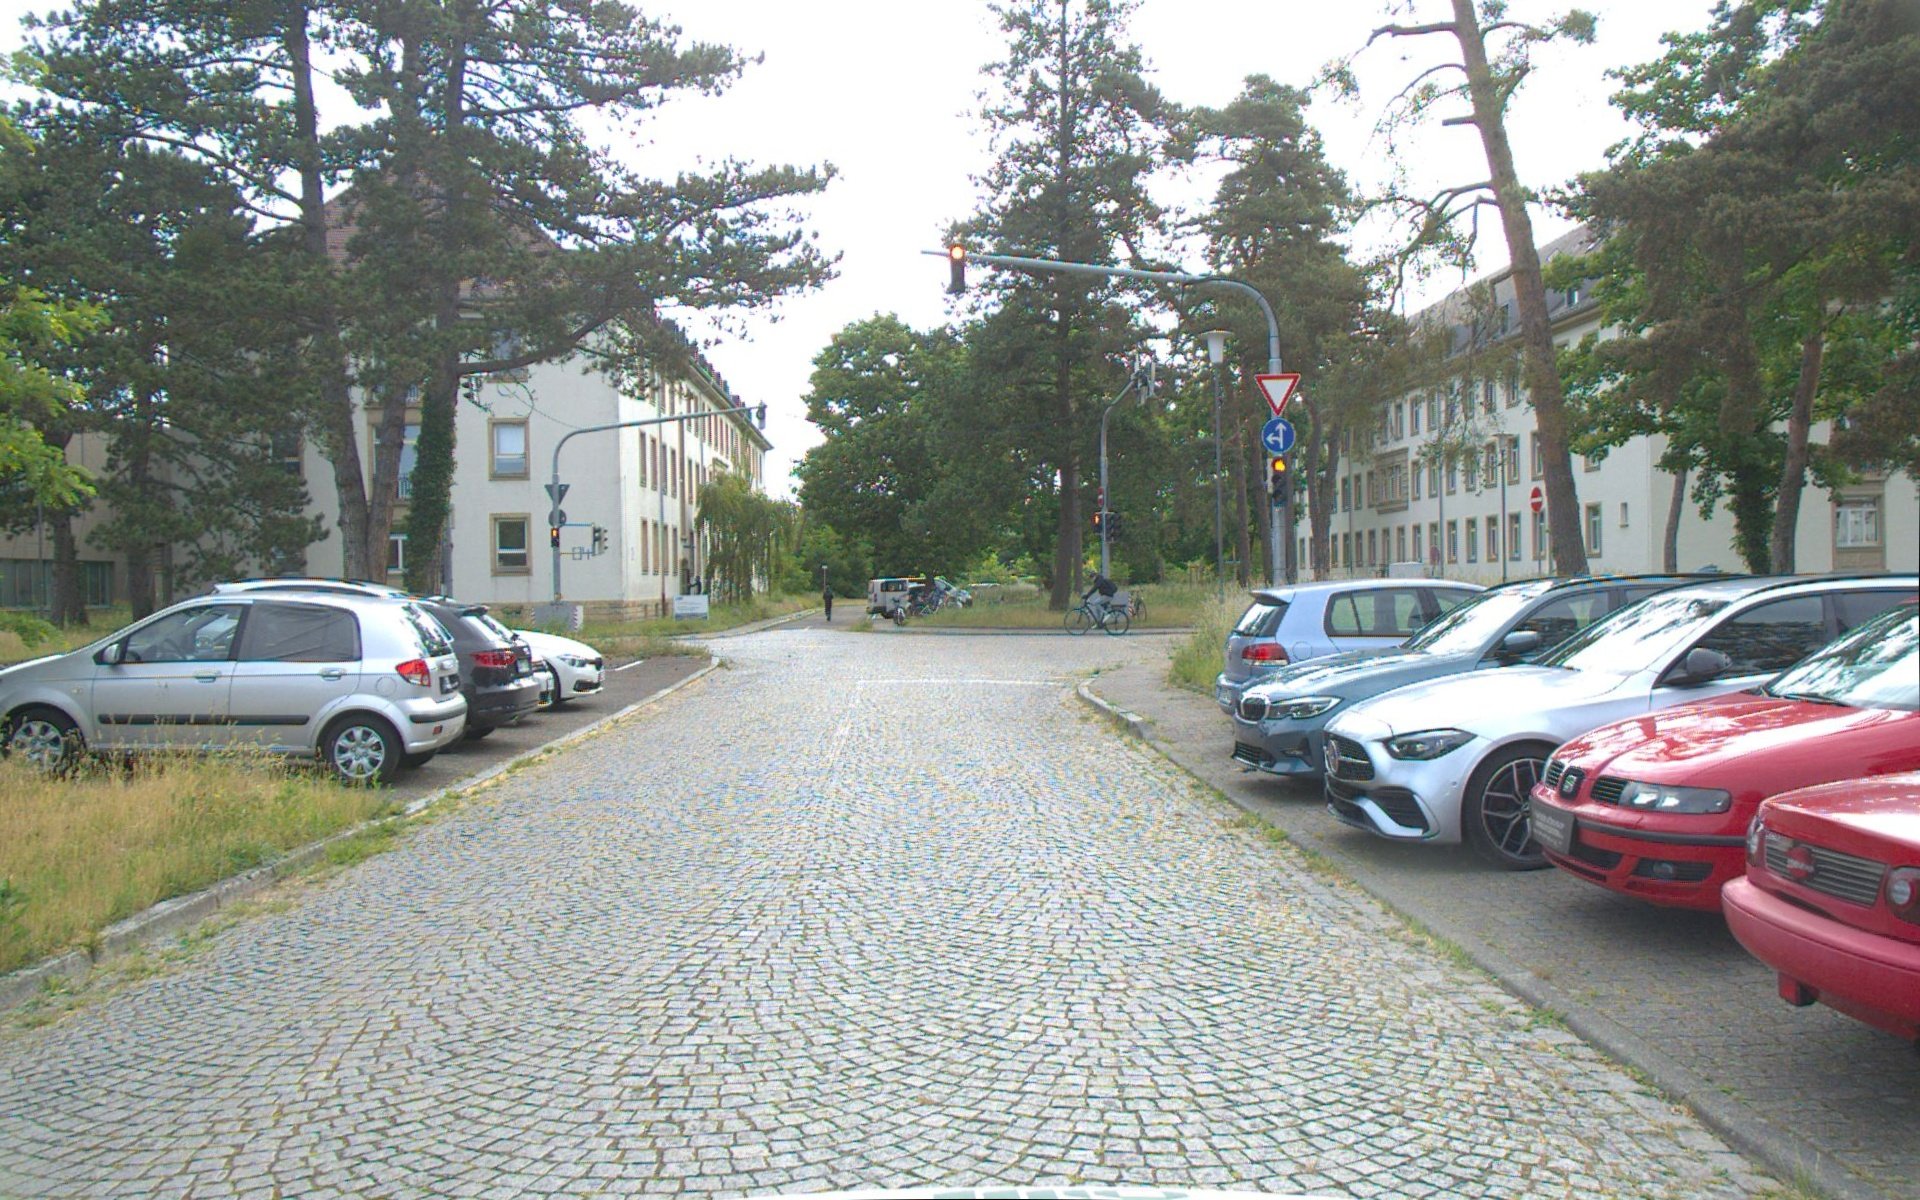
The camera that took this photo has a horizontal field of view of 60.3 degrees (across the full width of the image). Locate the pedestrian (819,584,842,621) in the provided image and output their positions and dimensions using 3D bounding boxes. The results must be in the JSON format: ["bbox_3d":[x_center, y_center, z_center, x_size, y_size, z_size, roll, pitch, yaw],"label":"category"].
[{"bbox_3d":[-5.807,0.109,73.881,0.731,1.646,0.768,-2,0,-31],"label":"pedestrian"}]

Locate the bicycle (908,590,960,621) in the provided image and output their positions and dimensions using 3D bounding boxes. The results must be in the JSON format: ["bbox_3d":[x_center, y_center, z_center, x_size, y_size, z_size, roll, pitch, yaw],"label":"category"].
[{"bbox_3d":[-0.987,0.213,63.452,1.919,1.152,0.587,-1,0,-9],"label":"bicycle"}]

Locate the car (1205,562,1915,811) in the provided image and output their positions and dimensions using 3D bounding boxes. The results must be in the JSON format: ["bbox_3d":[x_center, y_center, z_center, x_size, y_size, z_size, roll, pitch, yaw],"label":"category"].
[{"bbox_3d":[4.325,0.575,12.356,4.590,1.441,1.869,-3,1,-5],"label":"car"}]

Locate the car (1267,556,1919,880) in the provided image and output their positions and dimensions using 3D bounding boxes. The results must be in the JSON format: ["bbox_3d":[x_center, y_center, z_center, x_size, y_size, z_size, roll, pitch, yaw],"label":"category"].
[{"bbox_3d":[4.211,0.561,9.662,4.344,1.441,1.866,-3,1,-11],"label":"car"}]

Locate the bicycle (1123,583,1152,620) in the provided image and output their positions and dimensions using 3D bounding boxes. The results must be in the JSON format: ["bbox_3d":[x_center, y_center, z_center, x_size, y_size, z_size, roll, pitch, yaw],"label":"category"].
[{"bbox_3d":[5.532,0.039,51.610,0.574,1.125,1.961,-1,1,-2],"label":"bicycle"}]

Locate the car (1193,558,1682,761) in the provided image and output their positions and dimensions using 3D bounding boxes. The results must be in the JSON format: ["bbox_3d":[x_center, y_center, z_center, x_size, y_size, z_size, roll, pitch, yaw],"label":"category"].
[{"bbox_3d":[4.156,0.491,14.801,3.847,1.503,1.642,-3,1,-1],"label":"car"}]

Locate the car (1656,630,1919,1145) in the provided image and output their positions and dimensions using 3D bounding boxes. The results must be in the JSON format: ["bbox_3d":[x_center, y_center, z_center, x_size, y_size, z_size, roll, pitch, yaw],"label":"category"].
[{"bbox_3d":[4.348,0.688,4.914,3.786,1.257,1.757,-3,1,-4],"label":"car"}]

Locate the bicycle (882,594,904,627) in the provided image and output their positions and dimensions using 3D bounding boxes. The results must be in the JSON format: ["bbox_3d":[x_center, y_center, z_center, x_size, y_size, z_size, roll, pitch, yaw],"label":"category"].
[{"bbox_3d":[-2.439,0.379,60.193,0.592,1.152,1.958,-1,1,-8],"label":"bicycle"}]

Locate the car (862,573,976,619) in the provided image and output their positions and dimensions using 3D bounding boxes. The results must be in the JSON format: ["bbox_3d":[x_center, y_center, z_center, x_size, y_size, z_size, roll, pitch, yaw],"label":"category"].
[{"bbox_3d":[-2.040,-0.203,81.499,5.266,1.958,2.019,-3,1,-11],"label":"car"}]

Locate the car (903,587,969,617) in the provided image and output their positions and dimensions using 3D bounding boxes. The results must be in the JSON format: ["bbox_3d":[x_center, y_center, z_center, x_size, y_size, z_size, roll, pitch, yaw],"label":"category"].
[{"bbox_3d":[-1.138,0.087,78.163,2.949,1.290,1.532,-2,0,-8],"label":"car"}]

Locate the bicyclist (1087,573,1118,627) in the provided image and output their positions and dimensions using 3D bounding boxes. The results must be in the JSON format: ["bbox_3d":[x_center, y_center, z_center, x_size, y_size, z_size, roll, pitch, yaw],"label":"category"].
[{"bbox_3d":[3.861,0.004,44.843,0.734,1.435,0.605,-1,0,-2],"label":"bicyclist"}]

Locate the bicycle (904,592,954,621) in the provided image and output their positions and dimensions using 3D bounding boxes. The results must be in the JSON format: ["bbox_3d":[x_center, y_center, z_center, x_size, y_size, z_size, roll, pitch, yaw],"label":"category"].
[{"bbox_3d":[-1.232,0.247,65.559,1.936,1.088,0.581,-2,1,-32],"label":"bicycle"}]

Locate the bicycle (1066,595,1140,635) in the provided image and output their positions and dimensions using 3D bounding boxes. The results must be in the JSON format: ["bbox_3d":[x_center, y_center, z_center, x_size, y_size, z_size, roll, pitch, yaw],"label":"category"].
[{"bbox_3d":[3.872,0.398,44.847,1.916,1.042,0.605,-1,0,-3],"label":"bicycle"}]

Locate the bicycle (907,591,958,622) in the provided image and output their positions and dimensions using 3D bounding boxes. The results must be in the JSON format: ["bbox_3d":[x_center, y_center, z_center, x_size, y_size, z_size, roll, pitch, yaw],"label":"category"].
[{"bbox_3d":[-1.072,0.233,64.082,1.919,1.136,0.587,-1,0,-9],"label":"bicycle"}]

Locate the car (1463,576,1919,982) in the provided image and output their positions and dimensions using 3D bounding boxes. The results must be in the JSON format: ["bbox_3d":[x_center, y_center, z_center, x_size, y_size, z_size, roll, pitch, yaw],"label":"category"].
[{"bbox_3d":[4.661,0.625,7.412,4.177,1.441,1.870,-3,1,-3],"label":"car"}]

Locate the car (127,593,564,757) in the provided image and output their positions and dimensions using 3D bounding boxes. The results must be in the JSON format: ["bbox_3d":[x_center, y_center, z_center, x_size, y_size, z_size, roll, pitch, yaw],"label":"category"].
[{"bbox_3d":[-5.885,0.699,16.169,3.673,1.453,1.581,1,0,-5],"label":"car"}]

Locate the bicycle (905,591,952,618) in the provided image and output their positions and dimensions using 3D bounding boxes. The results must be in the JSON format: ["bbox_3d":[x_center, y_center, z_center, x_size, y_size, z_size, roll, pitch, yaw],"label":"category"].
[{"bbox_3d":[-1.352,0.192,70.593,1.932,1.088,0.583,-2,1,-27],"label":"bicycle"}]

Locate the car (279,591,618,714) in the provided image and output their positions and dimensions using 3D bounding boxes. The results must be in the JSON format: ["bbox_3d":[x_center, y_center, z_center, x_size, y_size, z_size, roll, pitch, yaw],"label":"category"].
[{"bbox_3d":[-6.547,0.660,21.466,3.869,1.446,1.649,1,0,-3],"label":"car"}]

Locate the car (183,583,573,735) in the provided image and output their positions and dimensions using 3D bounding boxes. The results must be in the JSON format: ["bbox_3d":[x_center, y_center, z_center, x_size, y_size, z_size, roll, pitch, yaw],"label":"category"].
[{"bbox_3d":[-6.540,0.647,18.928,3.871,1.590,1.648,1,0,-5],"label":"car"}]

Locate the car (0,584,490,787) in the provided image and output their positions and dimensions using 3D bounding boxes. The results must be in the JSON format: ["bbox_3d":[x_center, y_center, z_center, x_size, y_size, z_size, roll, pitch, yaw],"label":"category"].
[{"bbox_3d":[-5.883,0.664,13.570,3.631,1.505,1.581,1,0,-5],"label":"car"}]

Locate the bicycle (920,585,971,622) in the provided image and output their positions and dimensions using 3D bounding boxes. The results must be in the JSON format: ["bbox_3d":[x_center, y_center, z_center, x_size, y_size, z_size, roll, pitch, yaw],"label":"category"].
[{"bbox_3d":[-0.575,0.132,64.934,1.919,1.408,0.587,-1,0,-9],"label":"bicycle"}]

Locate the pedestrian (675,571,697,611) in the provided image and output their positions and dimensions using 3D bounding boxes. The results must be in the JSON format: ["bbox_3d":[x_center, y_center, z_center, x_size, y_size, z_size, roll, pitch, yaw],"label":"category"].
[{"bbox_3d":[-13.027,-0.447,78.686,0.767,1.869,0.732,-2,0,-34],"label":"pedestrian"}]

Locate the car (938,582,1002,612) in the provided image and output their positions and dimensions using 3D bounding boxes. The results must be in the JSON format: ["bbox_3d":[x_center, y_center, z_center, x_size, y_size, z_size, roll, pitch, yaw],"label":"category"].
[{"bbox_3d":[0.493,-0.183,85.489,3.169,1.441,1.723,-2,0,-5],"label":"car"}]
